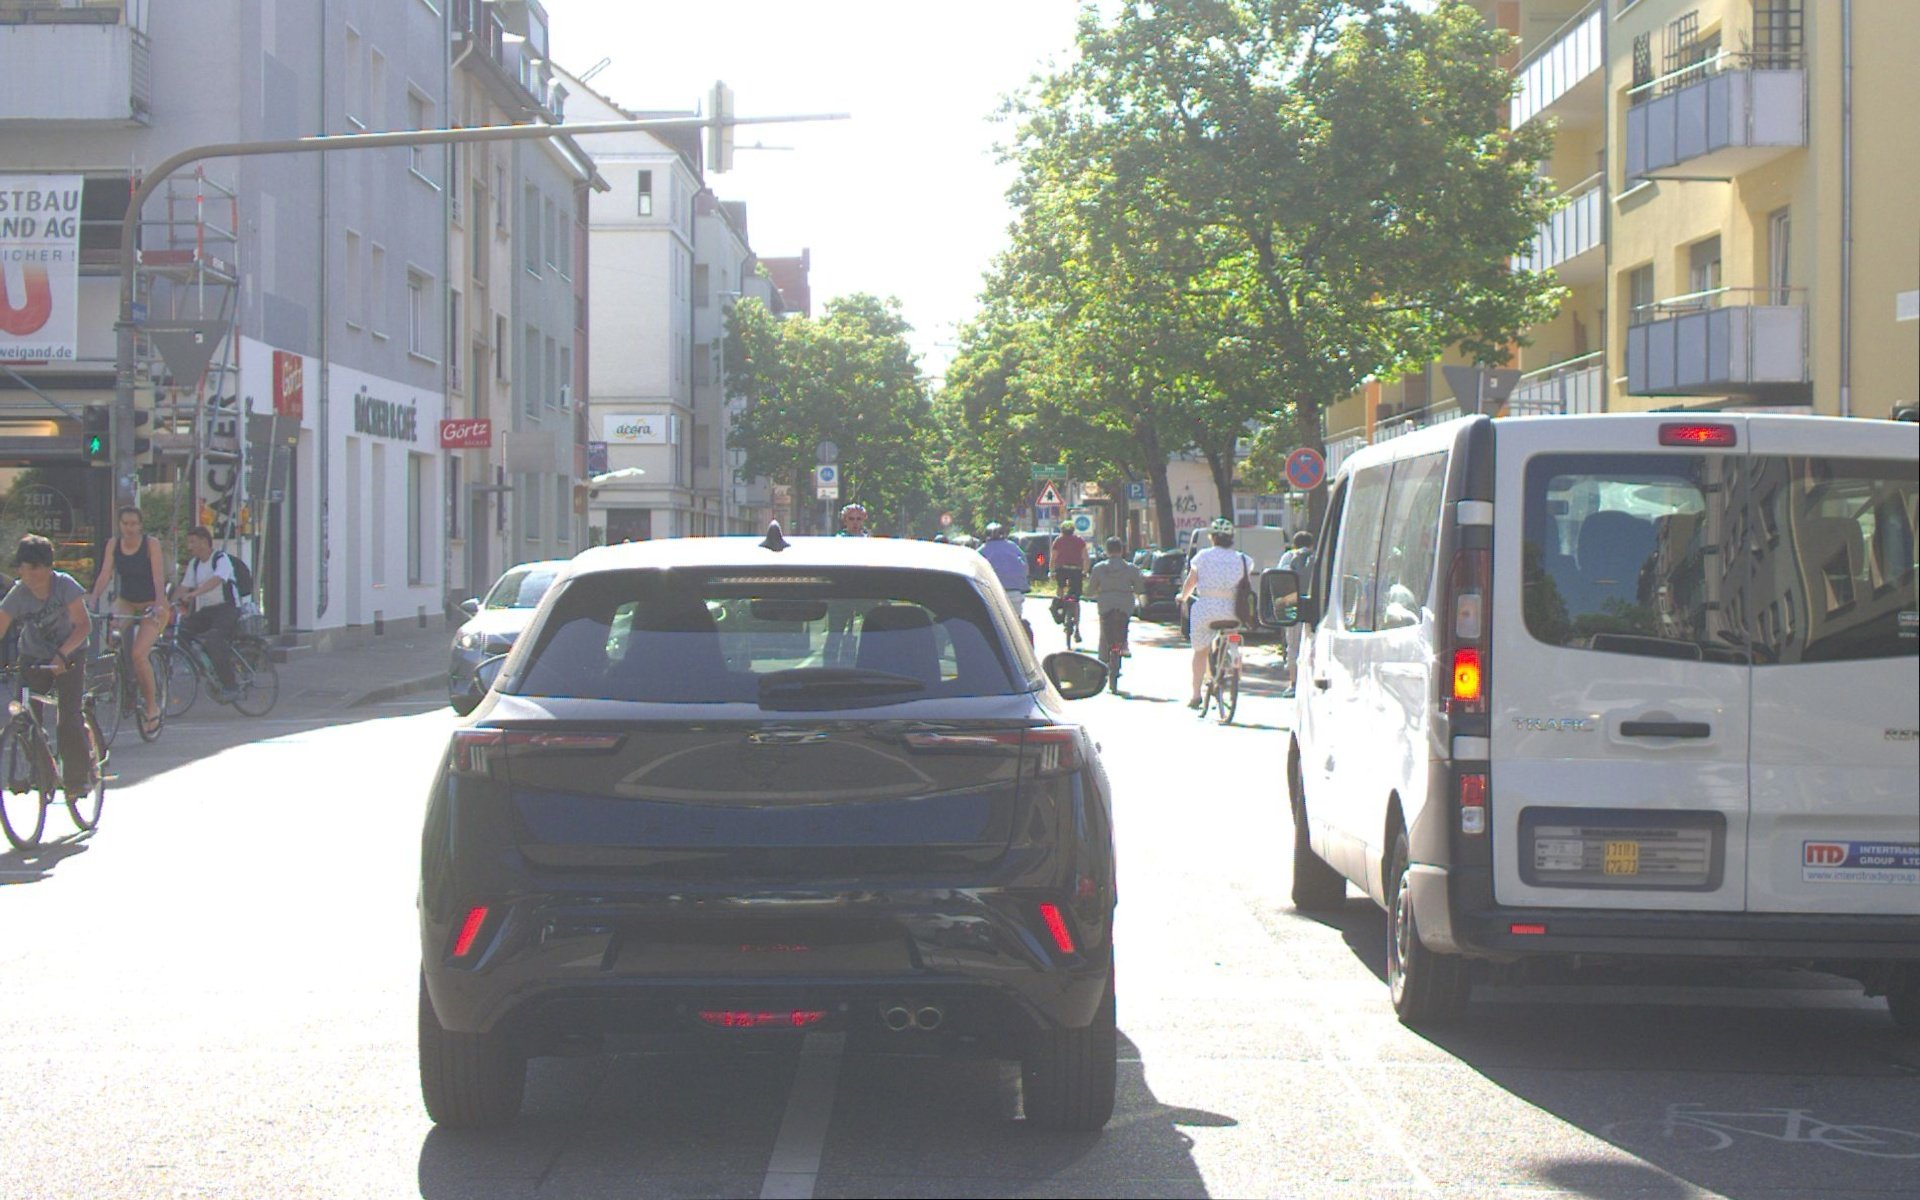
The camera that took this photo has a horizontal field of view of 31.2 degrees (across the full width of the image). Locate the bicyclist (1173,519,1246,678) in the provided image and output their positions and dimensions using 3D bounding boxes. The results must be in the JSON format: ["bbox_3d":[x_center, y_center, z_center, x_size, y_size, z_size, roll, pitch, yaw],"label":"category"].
[{"bbox_3d":[2.190,-0.019,30.300,0.588,1.378,0.823,0,1,1],"label":"bicyclist"}]

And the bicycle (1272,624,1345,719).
[{"bbox_3d":[3.426,0.690,33.889,0.547,0.863,1.876,0,1,1],"label":"bicycle"}]

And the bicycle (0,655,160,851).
[{"bbox_3d":[-4.756,0.770,17.857,0.543,0.899,1.825,0,1,8],"label":"bicycle"}]

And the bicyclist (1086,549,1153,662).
[{"bbox_3d":[1.702,0.056,36.745,0.692,1.189,0.595,0,1,1],"label":"bicyclist"}]

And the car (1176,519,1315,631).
[{"bbox_3d":[4.849,-0.454,58.876,2.046,1.840,4.584,0,1,1],"label":"car"}]

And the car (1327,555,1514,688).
[{"bbox_3d":[5.381,0.218,40.528,1.712,1.478,3.480,0,1,0],"label":"car"}]

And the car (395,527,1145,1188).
[{"bbox_3d":[-0.474,0.584,10.097,1.762,1.553,4.000,0,1,-1],"label":"car"}]

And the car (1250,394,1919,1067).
[{"bbox_3d":[2.316,0.359,12.590,1.968,1.933,5.056,2,1,-1],"label":"car"}]

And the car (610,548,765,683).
[{"bbox_3d":[-3.301,0.162,42.195,1.592,1.560,4.089,-1,0,-1],"label":"car"}]

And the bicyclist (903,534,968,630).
[{"bbox_3d":[-0.353,-0.258,48.519,0.856,1.310,1.210,2,1,-1],"label":"bicyclist"}]

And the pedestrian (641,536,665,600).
[{"bbox_3d":[-7.522,-0.783,84.318,0.577,1.577,0.708,0,1,-6],"label":"pedestrian"}]

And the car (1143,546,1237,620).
[{"bbox_3d":[4.757,-0.367,71.360,1.712,1.478,3.381,0,1,0],"label":"car"}]

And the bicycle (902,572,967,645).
[{"bbox_3d":[-0.372,0.107,48.546,0.856,0.941,2.308,2,1,-1],"label":"bicycle"}]

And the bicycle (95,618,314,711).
[{"bbox_3d":[-7.137,0.598,32.575,0.554,0.831,2.126,1,1,40],"label":"bicycle"}]

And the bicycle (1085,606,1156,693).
[{"bbox_3d":[1.700,0.513,36.611,0.691,0.863,1.876,0,1,1],"label":"bicycle"}]

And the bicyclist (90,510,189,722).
[{"bbox_3d":[-5.953,0.111,24.974,0.542,1.515,0.774,0,1,-1],"label":"bicyclist"}]

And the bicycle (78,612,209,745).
[{"bbox_3d":[-5.953,0.556,25.143,0.542,0.899,1.826,0,1,-1],"label":"bicycle"}]

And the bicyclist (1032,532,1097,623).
[{"bbox_3d":[1.544,-0.341,51.069,0.856,1.310,1.210,2,1,-1],"label":"bicyclist"}]

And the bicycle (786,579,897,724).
[{"bbox_3d":[-1.100,0.446,31.401,0.801,1.251,2.139,0,1,-8],"label":"bicycle"}]

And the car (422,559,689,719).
[{"bbox_3d":[-3.850,0.333,33.407,1.837,1.429,4.176,0,1,4],"label":"car"}]

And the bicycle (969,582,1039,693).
[{"bbox_3d":[0.427,0.359,33.875,0.632,1.037,1.795,0,1,-1],"label":"bicycle"}]

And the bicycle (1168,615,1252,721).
[{"bbox_3d":[2.191,0.582,30.279,0.620,0.863,1.876,0,1,1],"label":"bicycle"}]

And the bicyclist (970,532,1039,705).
[{"bbox_3d":[0.433,0.170,33.748,0.632,1.663,1.050,0,1,-1],"label":"bicyclist"}]

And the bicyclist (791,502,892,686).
[{"bbox_3d":[-1.082,-0.066,31.248,0.801,1.644,1.125,0,1,-8],"label":"bicyclist"}]

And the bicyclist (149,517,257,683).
[{"bbox_3d":[-7.157,-0.008,32.527,0.554,1.543,0.812,1,1,40],"label":"bicyclist"}]

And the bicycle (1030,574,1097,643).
[{"bbox_3d":[1.523,0.119,51.081,0.856,0.941,2.308,2,1,-1],"label":"bicycle"}]

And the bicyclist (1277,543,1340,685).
[{"bbox_3d":[3.435,0.131,33.931,0.547,1.378,0.823,0,1,1],"label":"bicyclist"}]

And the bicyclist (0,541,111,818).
[{"bbox_3d":[-4.775,0.393,17.654,0.543,1.386,0.788,0,1,8],"label":"bicyclist"}]
